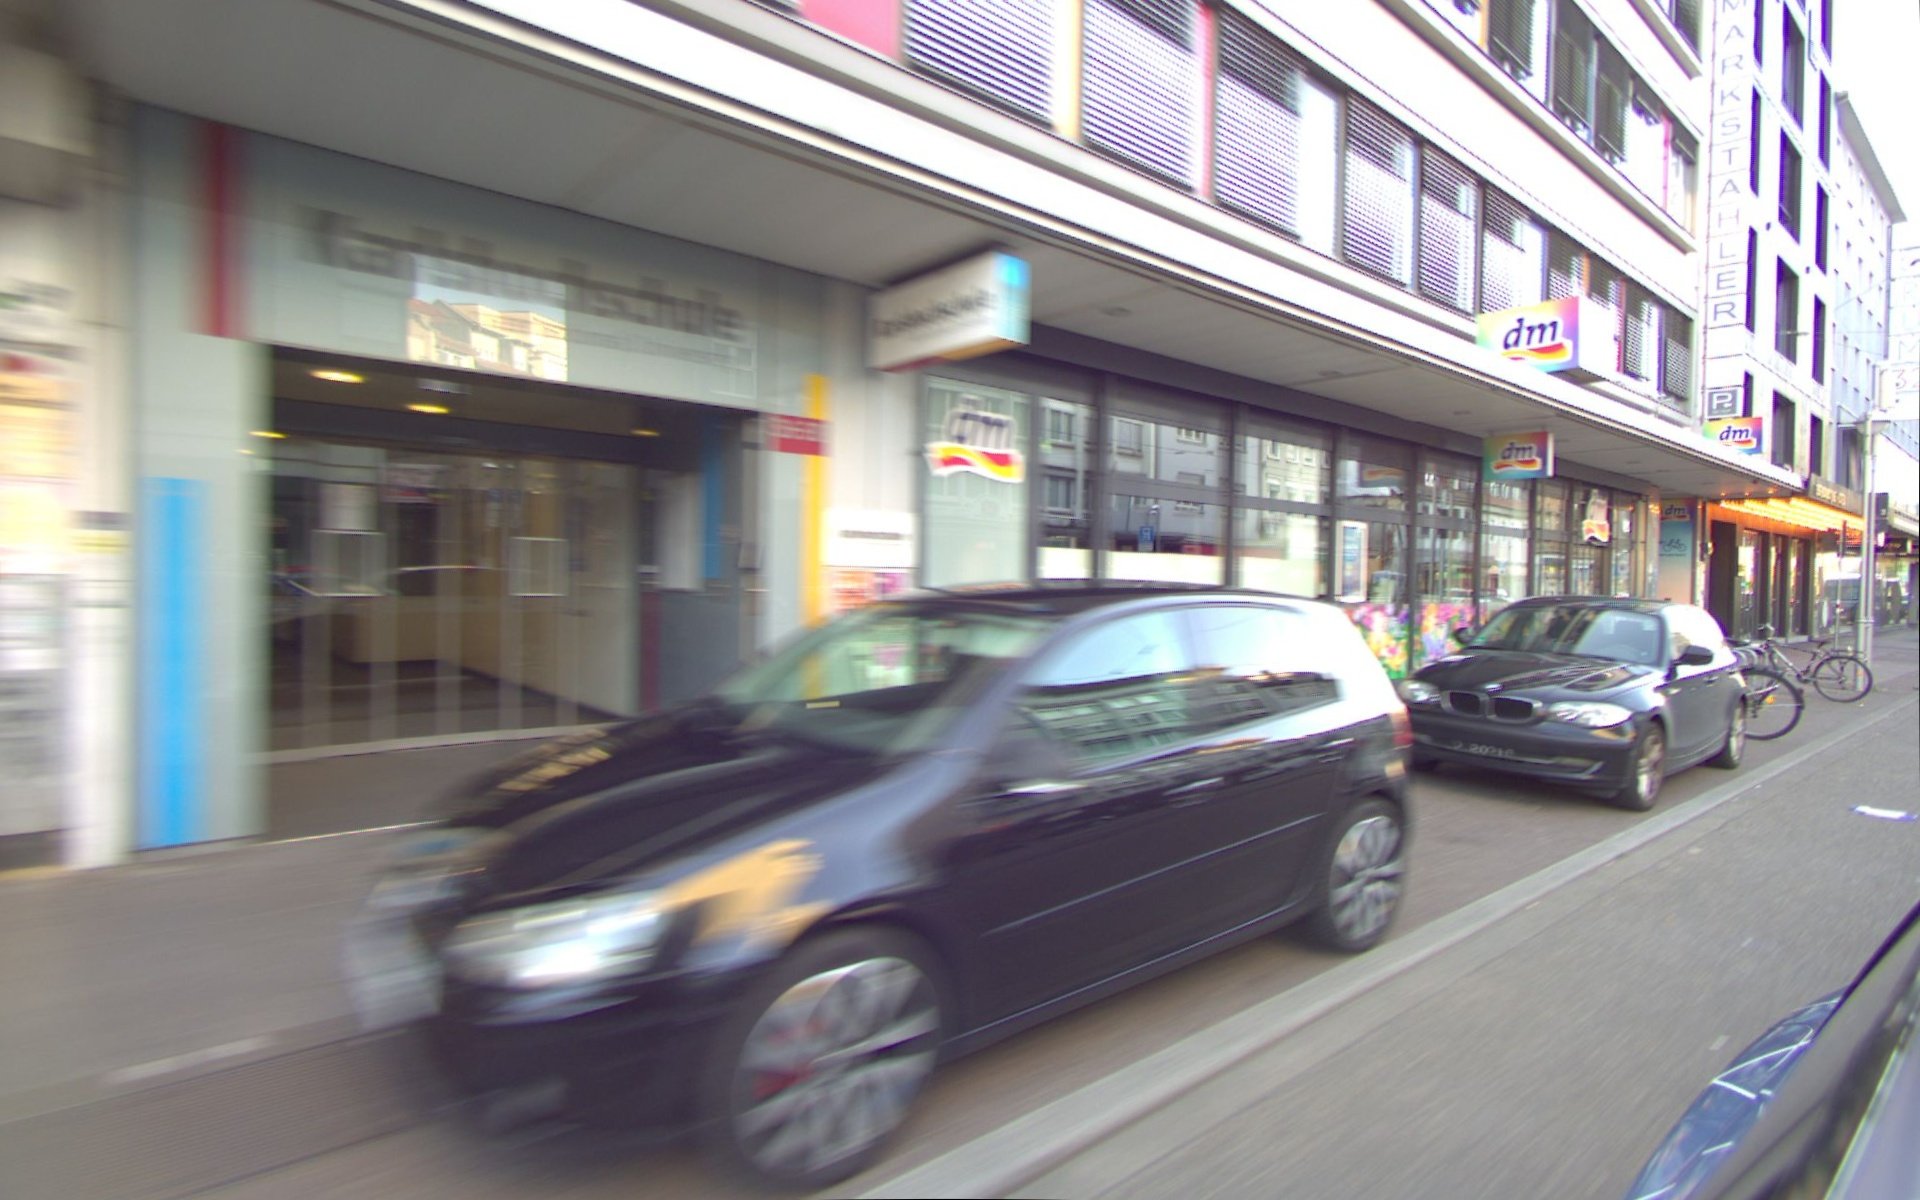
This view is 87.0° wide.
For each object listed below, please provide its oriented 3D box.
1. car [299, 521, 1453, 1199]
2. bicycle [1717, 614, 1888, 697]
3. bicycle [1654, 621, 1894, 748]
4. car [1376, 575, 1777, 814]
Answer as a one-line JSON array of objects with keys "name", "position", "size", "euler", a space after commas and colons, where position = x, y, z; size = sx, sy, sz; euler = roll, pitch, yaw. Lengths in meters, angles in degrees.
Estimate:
[{"name": "car", "position": [0.049, 0.608, 3.749], "size": [4.001, 1.532, 1.768], "euler": [-1, 0, -41]}, {"name": "bicycle", "position": [12.102, 0.765, 14.580], "size": [0.566, 0.984, 1.797], "euler": [0, 4, -43]}, {"name": "bicycle", "position": [8.222, 0.804, 10.286], "size": [0.631, 1.123, 1.841], "euler": [0, 1, -43]}, {"name": "car", "position": [5.134, 0.563, 8.207], "size": [3.953, 1.481, 1.657], "euler": [-1, 0, -41]}]
